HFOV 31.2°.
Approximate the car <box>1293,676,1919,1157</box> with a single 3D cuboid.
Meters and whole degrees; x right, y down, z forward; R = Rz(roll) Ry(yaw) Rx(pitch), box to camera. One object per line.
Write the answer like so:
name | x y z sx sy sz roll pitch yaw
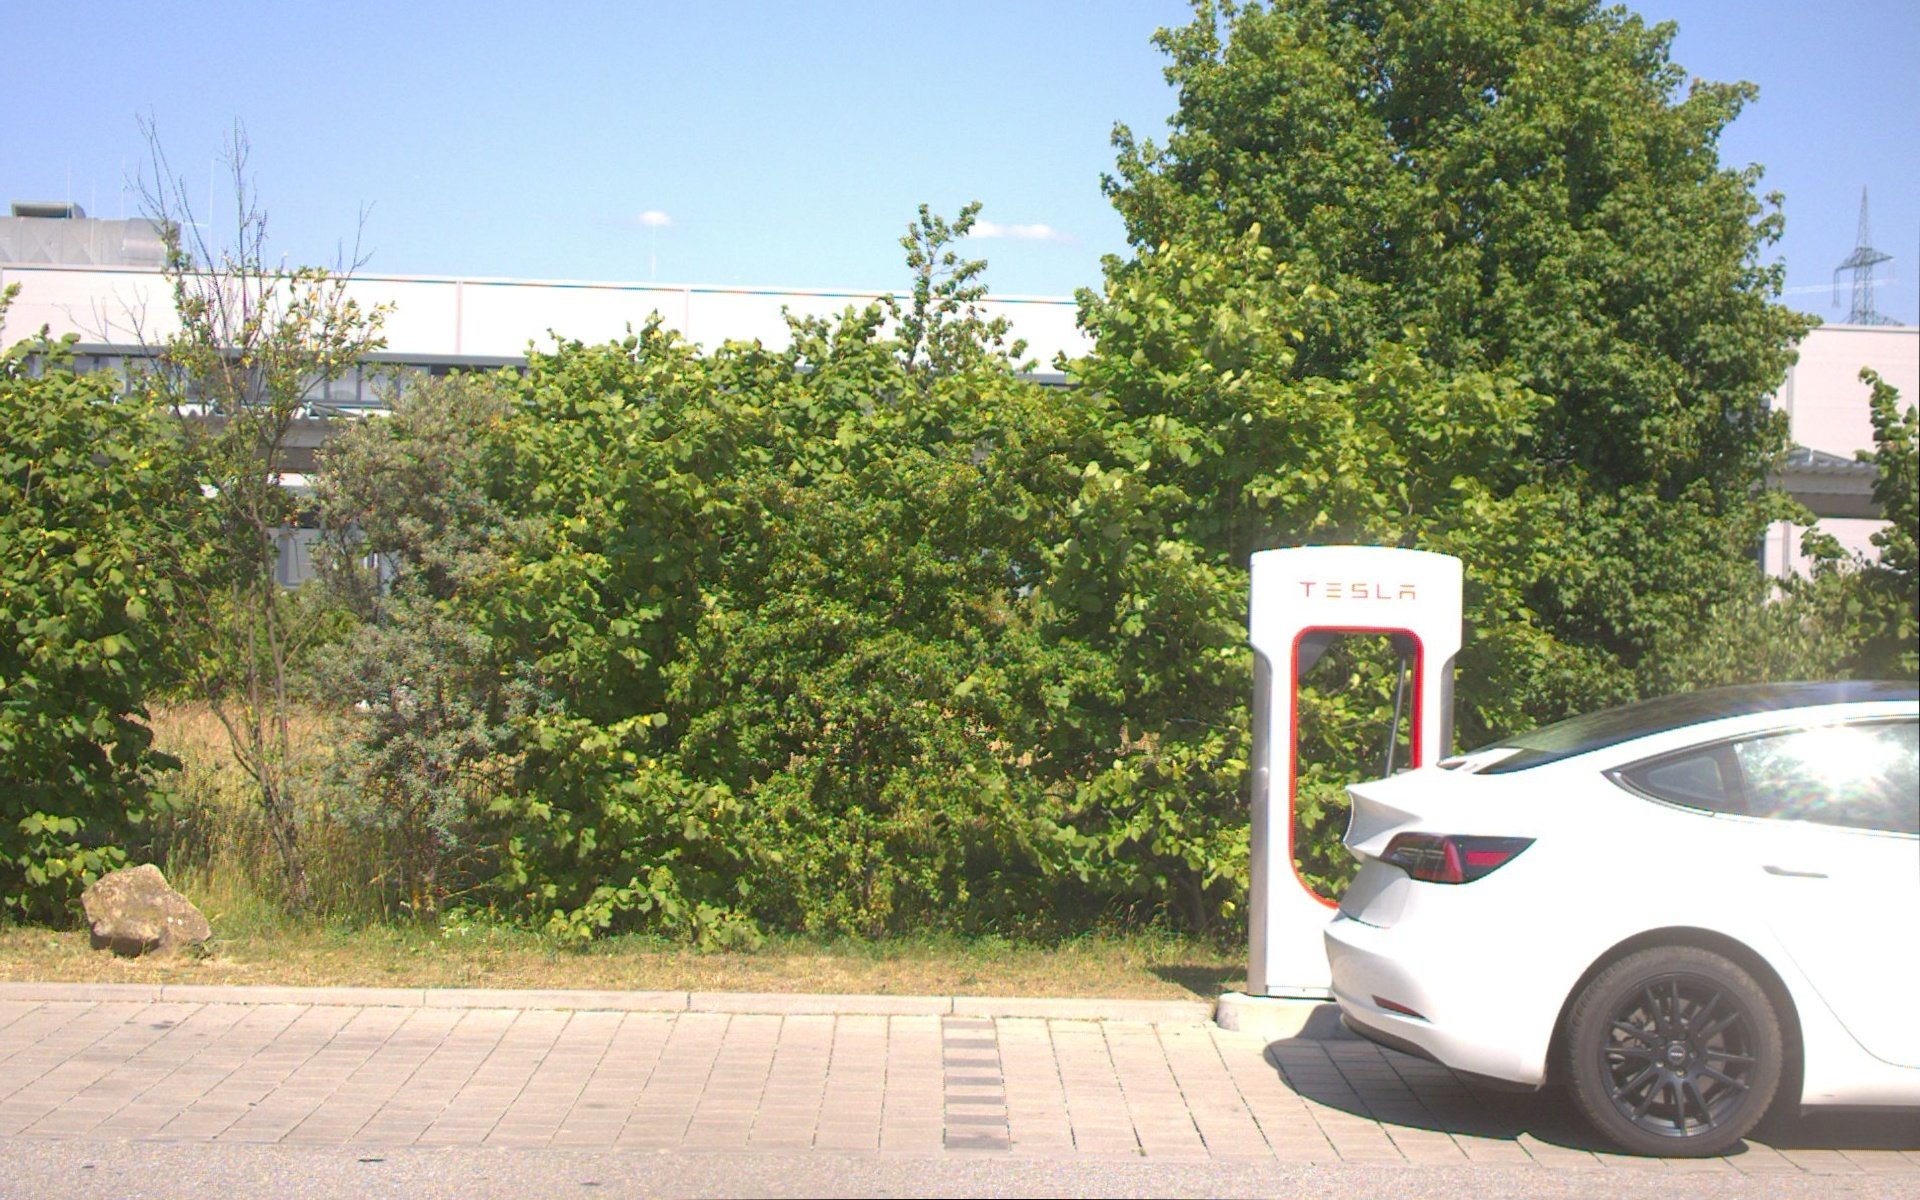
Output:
car | 3.417 0.999 11.261 4.434 1.373 1.822 1 0 -1
